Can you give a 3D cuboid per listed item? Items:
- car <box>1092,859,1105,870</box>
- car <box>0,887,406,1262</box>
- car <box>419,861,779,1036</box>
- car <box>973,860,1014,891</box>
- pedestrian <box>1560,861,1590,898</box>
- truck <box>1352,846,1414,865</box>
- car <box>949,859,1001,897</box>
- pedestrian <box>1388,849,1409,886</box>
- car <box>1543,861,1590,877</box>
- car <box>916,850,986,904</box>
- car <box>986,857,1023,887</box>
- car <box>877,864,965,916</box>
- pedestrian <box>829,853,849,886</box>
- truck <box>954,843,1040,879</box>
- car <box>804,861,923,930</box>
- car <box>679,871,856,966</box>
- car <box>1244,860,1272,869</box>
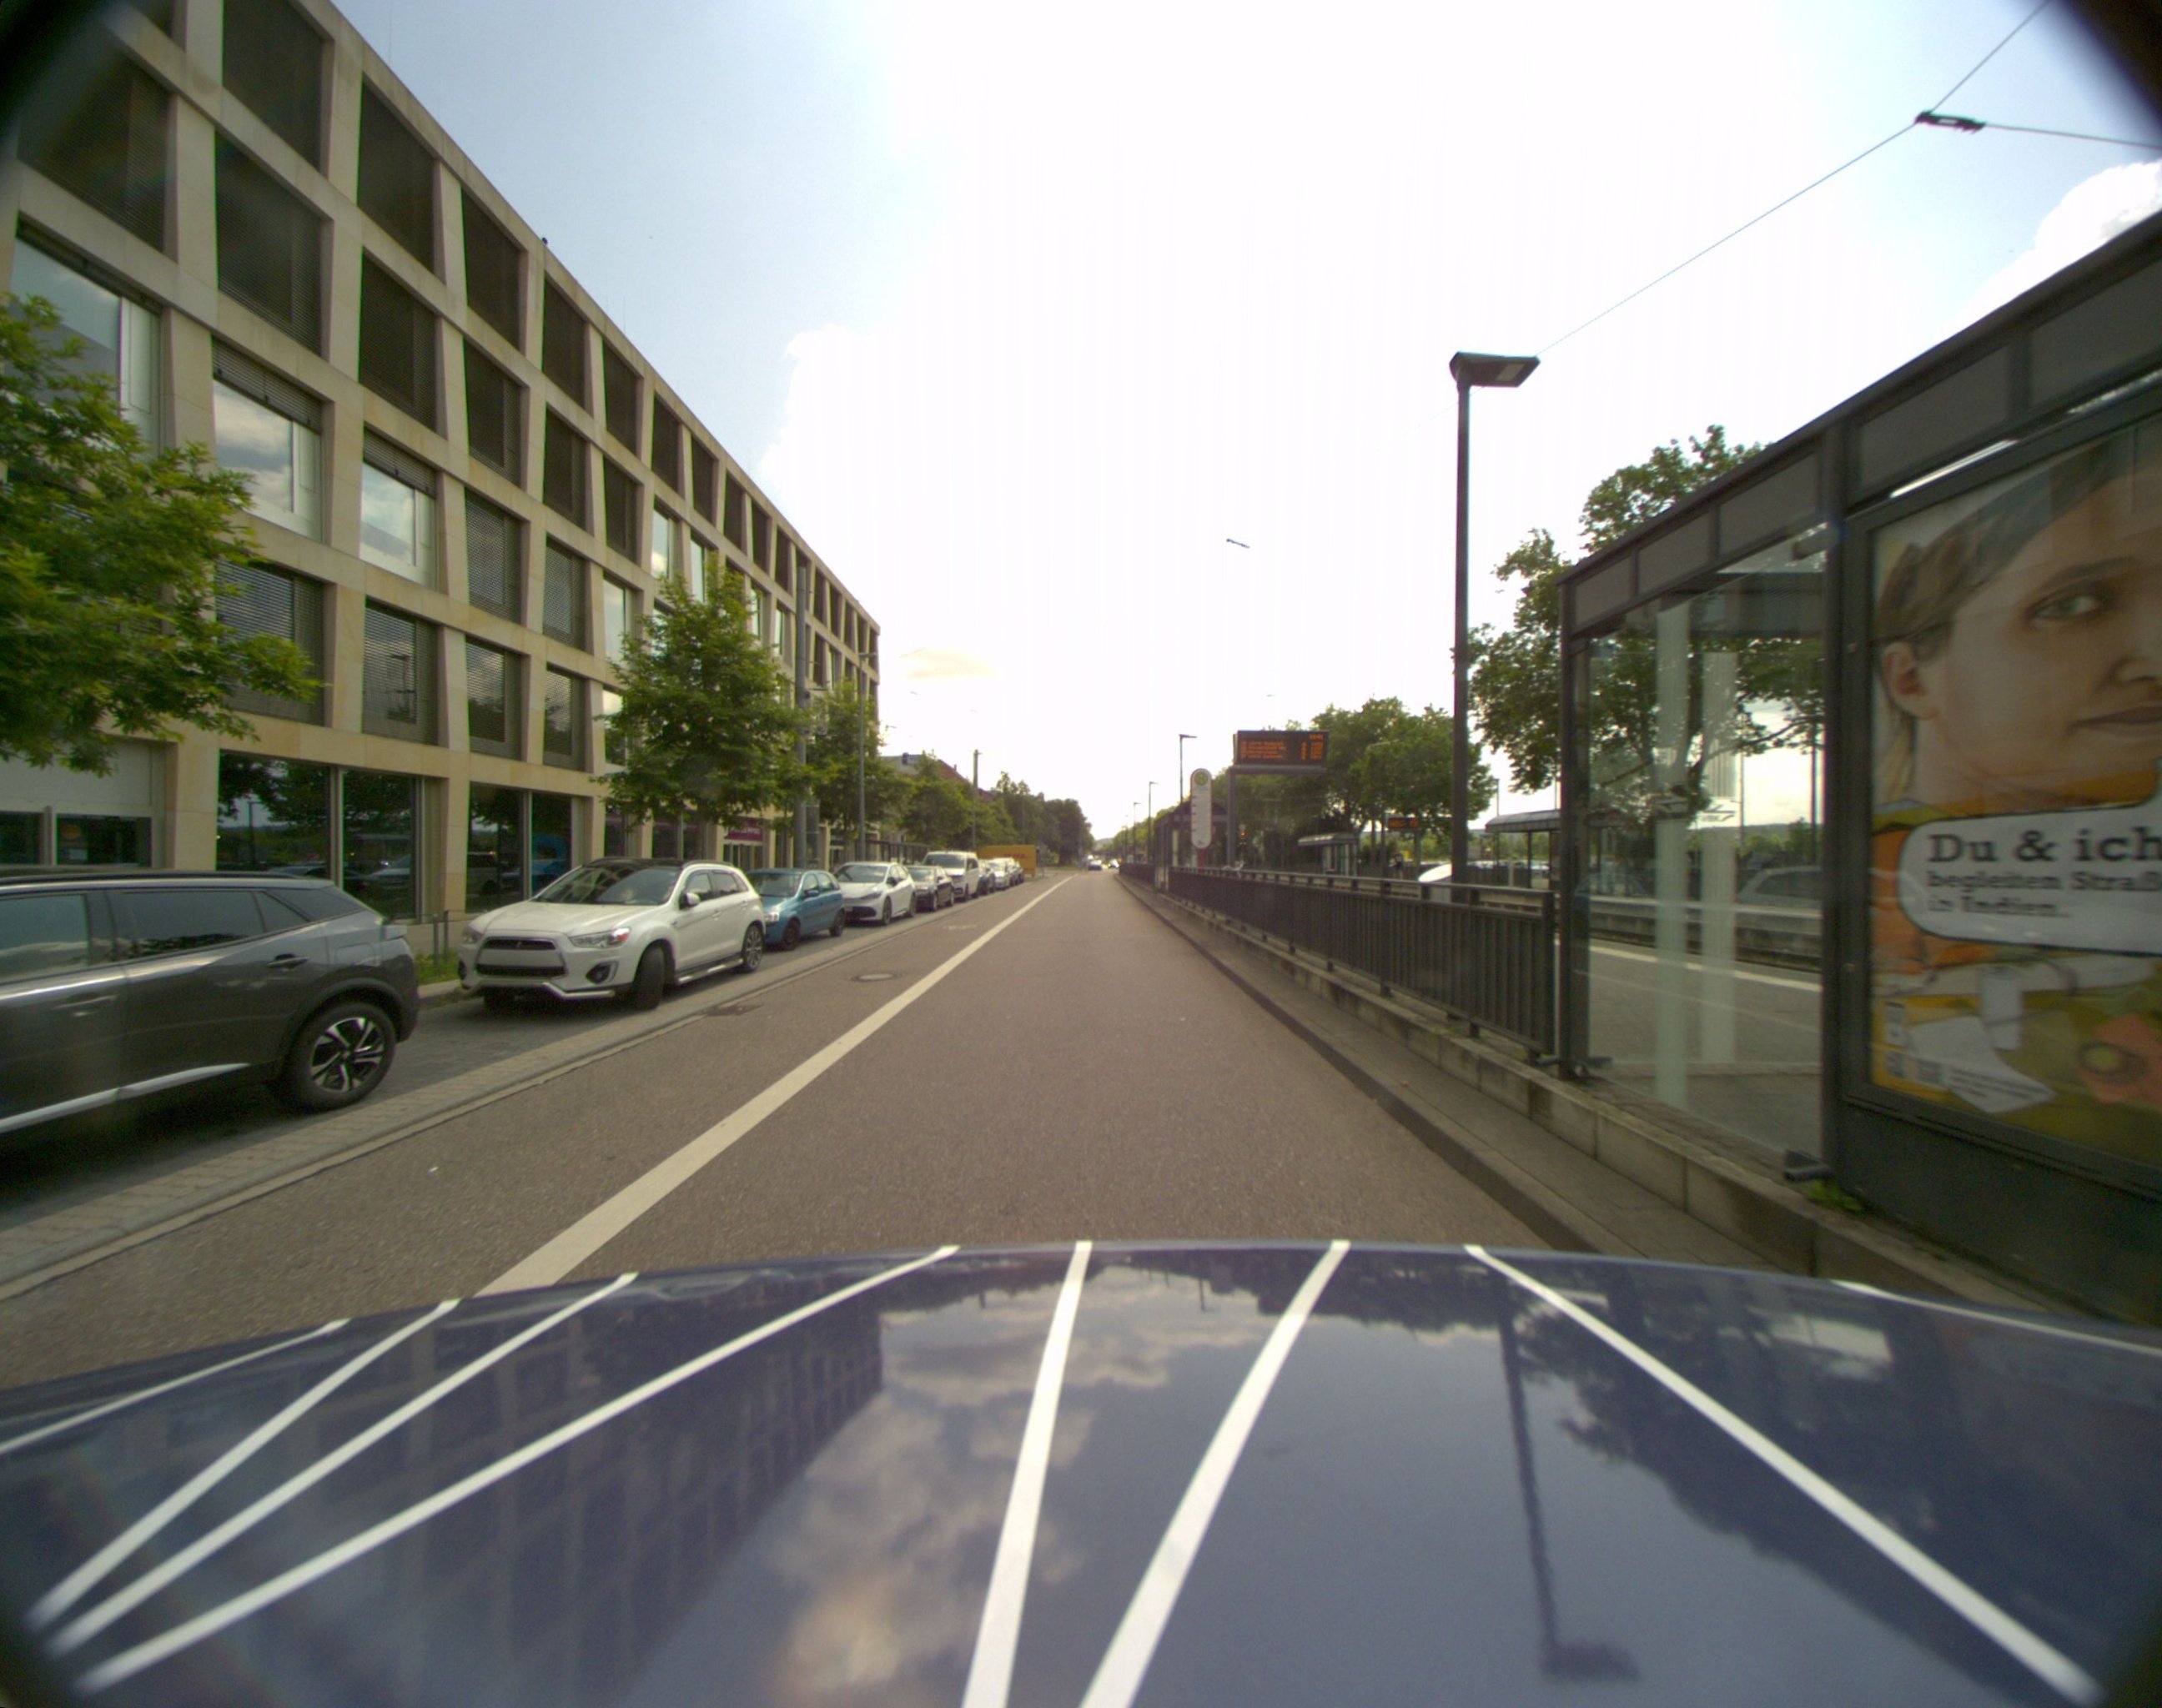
[{"bbox_3d":[2.633,1.625,116.722,1.784,1.531,4.420,1,0,-1],"label":"car"},{"bbox_3d":[-5.606,1.014,3.355,1.689,1.539,3.926,1,0,1],"label":"car"},{"bbox_3d":[-5.411,0.917,9.292,1.689,1.596,4.152,1,0,1],"label":"car"},{"bbox_3d":[-4.736,1.133,41.416,1.725,1.610,3.860,0,0,1],"label":"car"},{"bbox_3d":[17.027,0.869,26.180,0.554,1.262,0.768,0,0,2],"label":"pedestrian"},{"bbox_3d":[68.411,0.320,172.366,12.818,4.050,2.748,2,0,2],"label":"truck"},{"bbox_3d":[-4.957,1.087,36.115,1.725,1.631,4.527,1,0,1],"label":"car"},{"bbox_3d":[16.032,0.665,38.377,0.708,1.834,0.864,0,0,-1],"label":"pedestrian"},{"bbox_3d":[45.020,1.393,70.527,1.802,1.467,4.000,1,0,0],"label":"car"},{"bbox_3d":[-5.102,0.852,30.421,1.886,1.928,4.843,1,0,1],"label":"car"},{"bbox_3d":[-4.712,1.061,47.535,1.773,1.757,4.840,0,0,1],"label":"car"},{"bbox_3d":[-5.176,1.125,25.168,1.886,1.478,4.563,1,0,1],"label":"car"},{"bbox_3d":[-11.469,0.708,35.992,0.639,1.542,0.905,0,0,1],"label":"pedestrian"},{"bbox_3d":[-6.785,0.587,61.996,6.824,2.850,2.454,0,0,-1],"label":"truck"},{"bbox_3d":[-5.490,0.983,19.742,1.797,1.521,4.159,1,0,1],"label":"car"},{"bbox_3d":[-5.783,1.116,14.578,1.689,1.449,3.950,1,0,1],"label":"car"},{"bbox_3d":[28.984,1.758,124.517,3.996,1.433,2.000,0,0,1],"label":"car"}]
